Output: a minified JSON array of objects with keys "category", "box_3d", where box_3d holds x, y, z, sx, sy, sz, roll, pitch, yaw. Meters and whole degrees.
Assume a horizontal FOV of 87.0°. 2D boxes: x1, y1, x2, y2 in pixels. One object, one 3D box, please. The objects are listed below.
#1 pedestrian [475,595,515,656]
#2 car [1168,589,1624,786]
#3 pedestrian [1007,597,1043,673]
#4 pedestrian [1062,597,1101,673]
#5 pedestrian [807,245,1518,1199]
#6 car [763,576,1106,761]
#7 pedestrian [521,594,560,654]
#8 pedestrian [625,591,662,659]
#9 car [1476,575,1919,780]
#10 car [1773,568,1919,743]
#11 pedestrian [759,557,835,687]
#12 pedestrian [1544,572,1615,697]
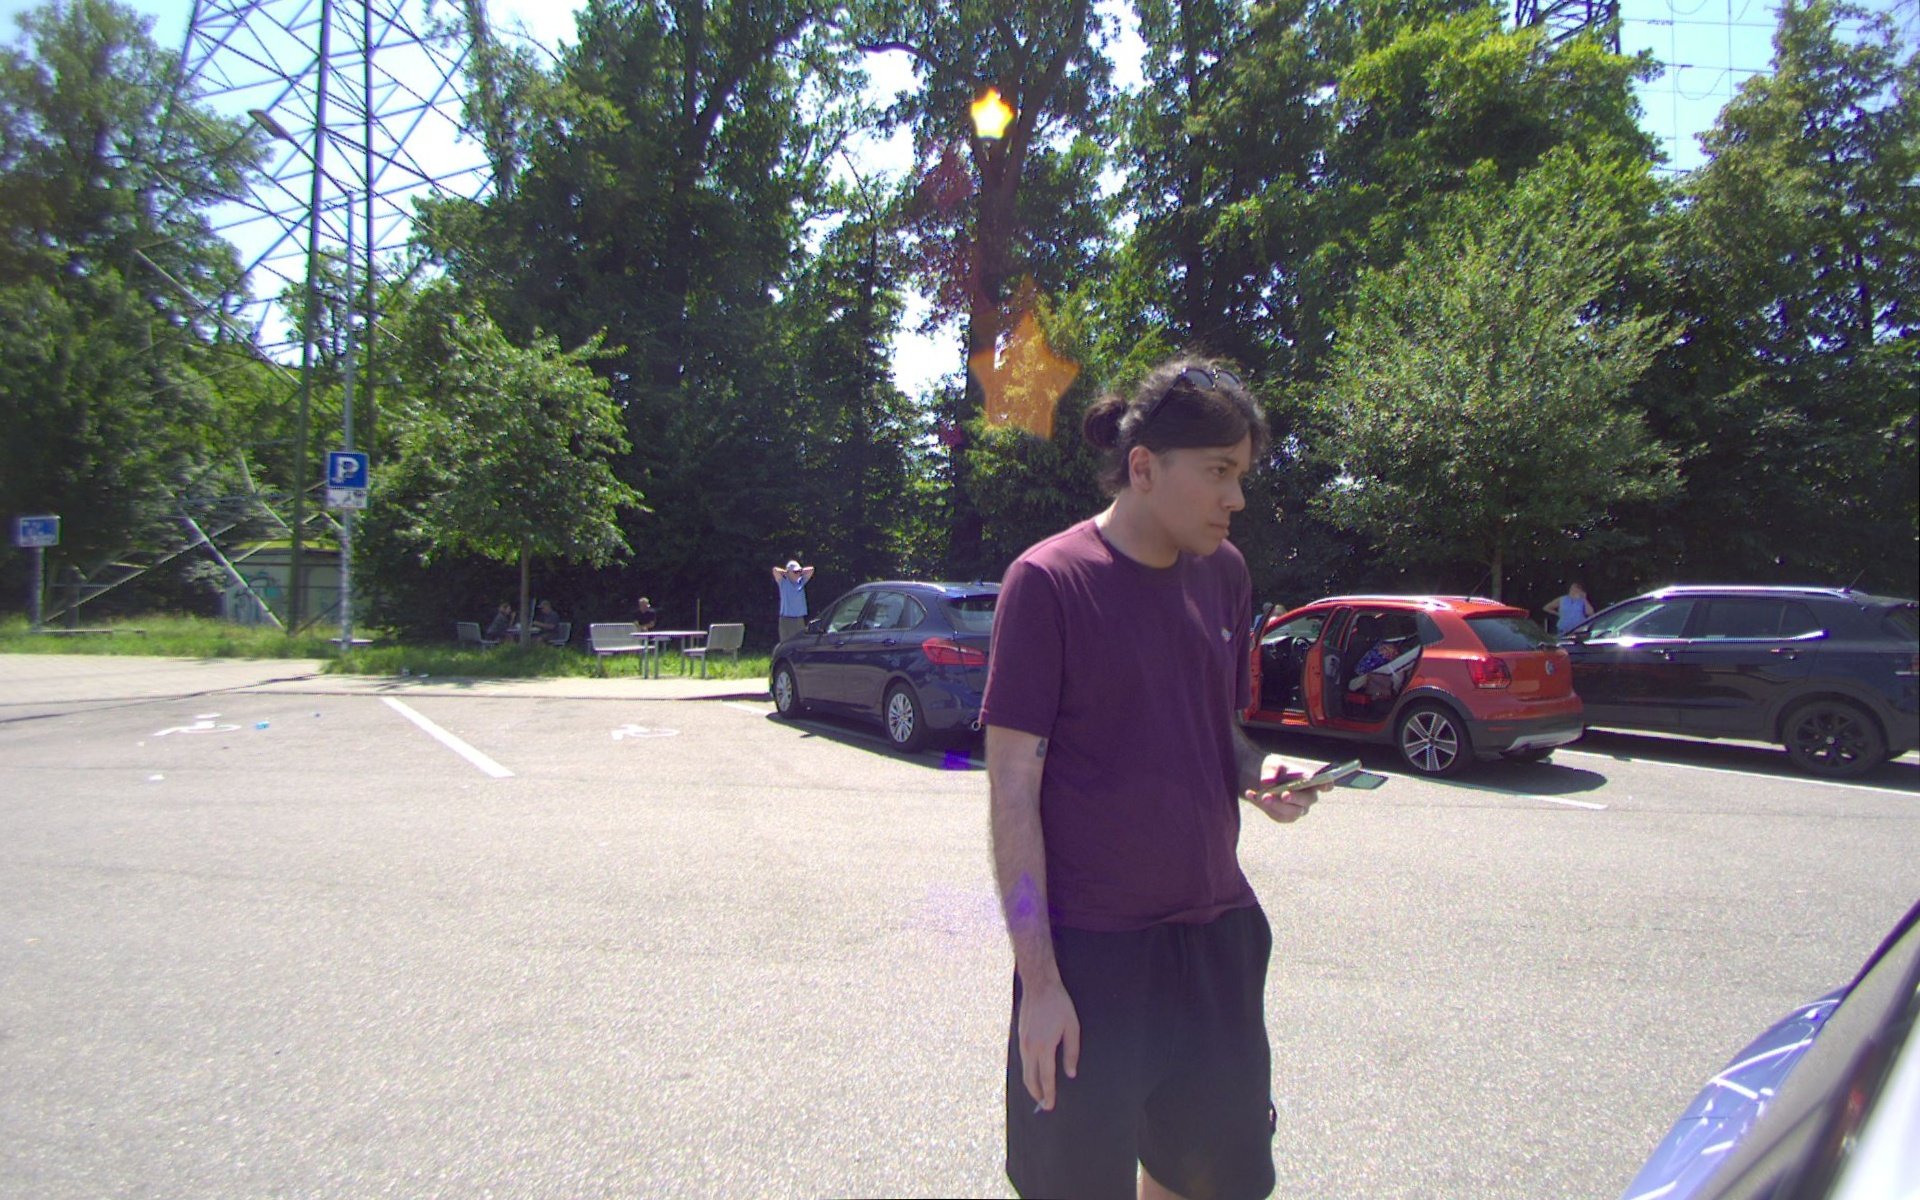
[{"category":"pedestrian","box_3d":[-10.491,0.558,22.842,0.687,1.352,0.563,0,0,-40]},{"category":"car","box_3d":[3.879,0.645,9.594,1.559,1.467,3.737,1,0,-33]},{"category":"pedestrian","box_3d":[1.094,0.586,17.082,0.576,1.251,0.697,0,-1,1]},{"category":"pedestrian","box_3d":[2.041,0.581,17.016,0.576,1.251,0.697,0,-1,1]},{"category":"pedestrian","box_3d":[0.293,0.514,1.749,0.844,1.857,0.865,0,0,-30]},{"category":"car","box_3d":[-0.458,0.558,10.667,1.776,1.562,3.940,1,0,-34]},{"category":"pedestrian","box_3d":[-9.734,0.547,23.481,0.687,1.352,0.563,0,0,-40]},{"category":"pedestrian","box_3d":[-6.662,0.523,21.319,0.553,1.408,0.700,0,0,2]},{"category":"car","box_3d":[7.244,0.595,9.708,1.707,1.607,3.732,1,0,-39]},{"category":"car","box_3d":[10.907,0.553,9.582,1.960,1.734,4.621,0,1,-31]},{"category":"pedestrian","box_3d":[-2.285,0.289,14.196,0.830,1.754,0.666,0,0,42]},{"category":"pedestrian","box_3d":[9.379,0.515,15.328,0.752,1.854,0.519,0,0,7]}]
